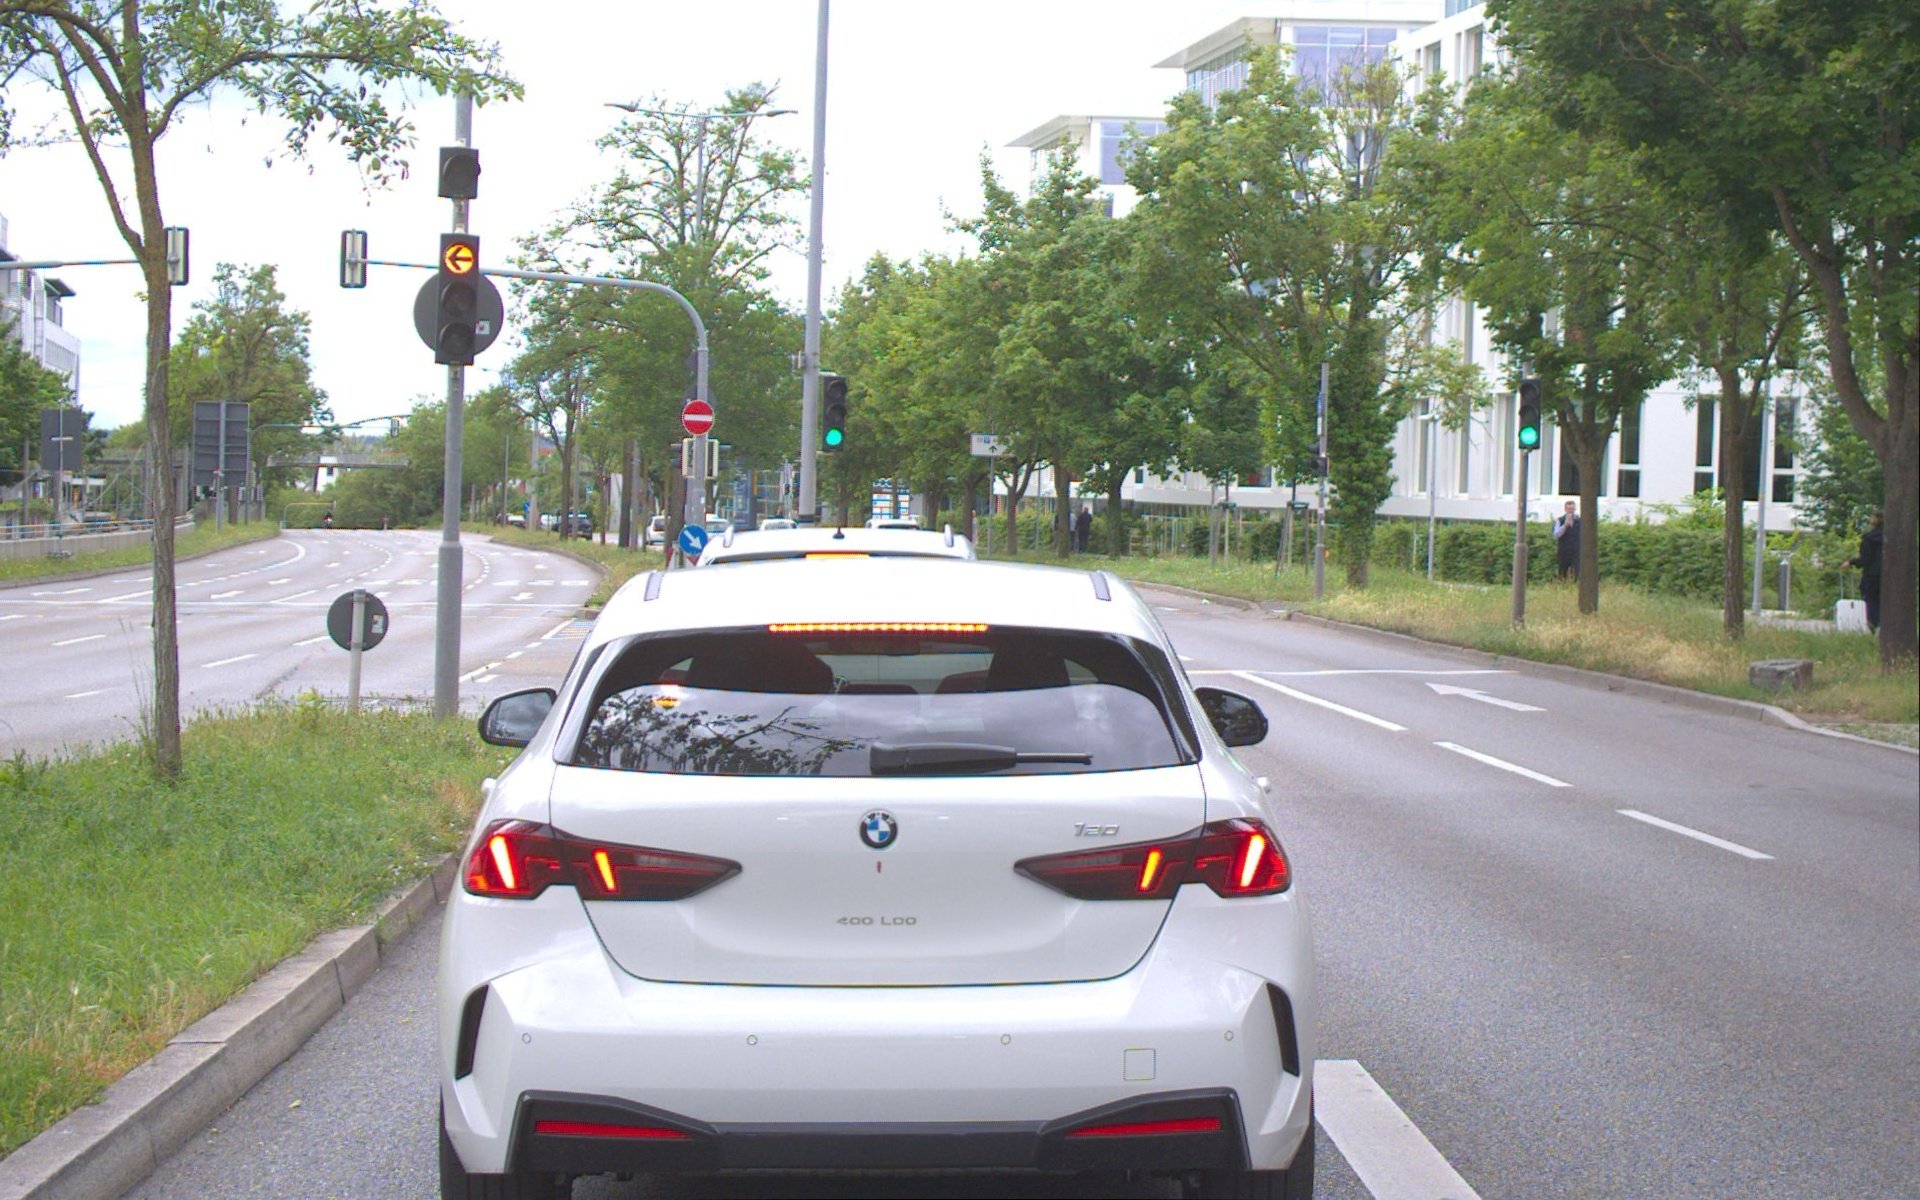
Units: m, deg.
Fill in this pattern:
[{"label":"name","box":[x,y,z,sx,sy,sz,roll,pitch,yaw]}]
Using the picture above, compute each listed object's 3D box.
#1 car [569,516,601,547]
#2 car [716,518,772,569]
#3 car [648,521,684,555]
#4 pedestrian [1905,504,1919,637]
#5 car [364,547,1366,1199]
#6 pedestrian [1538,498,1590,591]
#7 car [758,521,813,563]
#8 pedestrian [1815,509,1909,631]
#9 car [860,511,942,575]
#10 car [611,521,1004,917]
[{"label":"car","box":[-21.034,-3.845,192.842,1.601,1.661,4.001,1,1,-4]},{"label":"car","box":[-7.549,-1.978,119.724,1.695,1.711,4.001,1,1,-7]},{"label":"car","box":[-14.798,-3.122,173.078,1.738,1.661,4.001,1,1,-4]},{"label":"pedestrian","box":[11.791,-0.346,41.099,0.699,1.590,0.883,1,0,-1]},{"label":"car","box":[-0.201,0.615,8.340,1.822,1.433,4.000,1,1,-1]},{"label":"pedestrian","box":[10.335,-0.944,58.866,0.741,1.568,0.674,1,0,-1]},{"label":"car","box":[-6.469,-2.152,126.925,1.692,1.481,3.694,1,1,-8]},{"label":"pedestrian","box":[10.867,-0.362,41.452,0.789,1.443,1.112,1,0,-1]},{"label":"car","box":[-1.591,-1.529,91.779,1.993,1.664,4.001,0,1,-4]},{"label":"car","box":[-0.637,0.445,15.858,1.549,1.563,4.000,1,1,-1]}]
